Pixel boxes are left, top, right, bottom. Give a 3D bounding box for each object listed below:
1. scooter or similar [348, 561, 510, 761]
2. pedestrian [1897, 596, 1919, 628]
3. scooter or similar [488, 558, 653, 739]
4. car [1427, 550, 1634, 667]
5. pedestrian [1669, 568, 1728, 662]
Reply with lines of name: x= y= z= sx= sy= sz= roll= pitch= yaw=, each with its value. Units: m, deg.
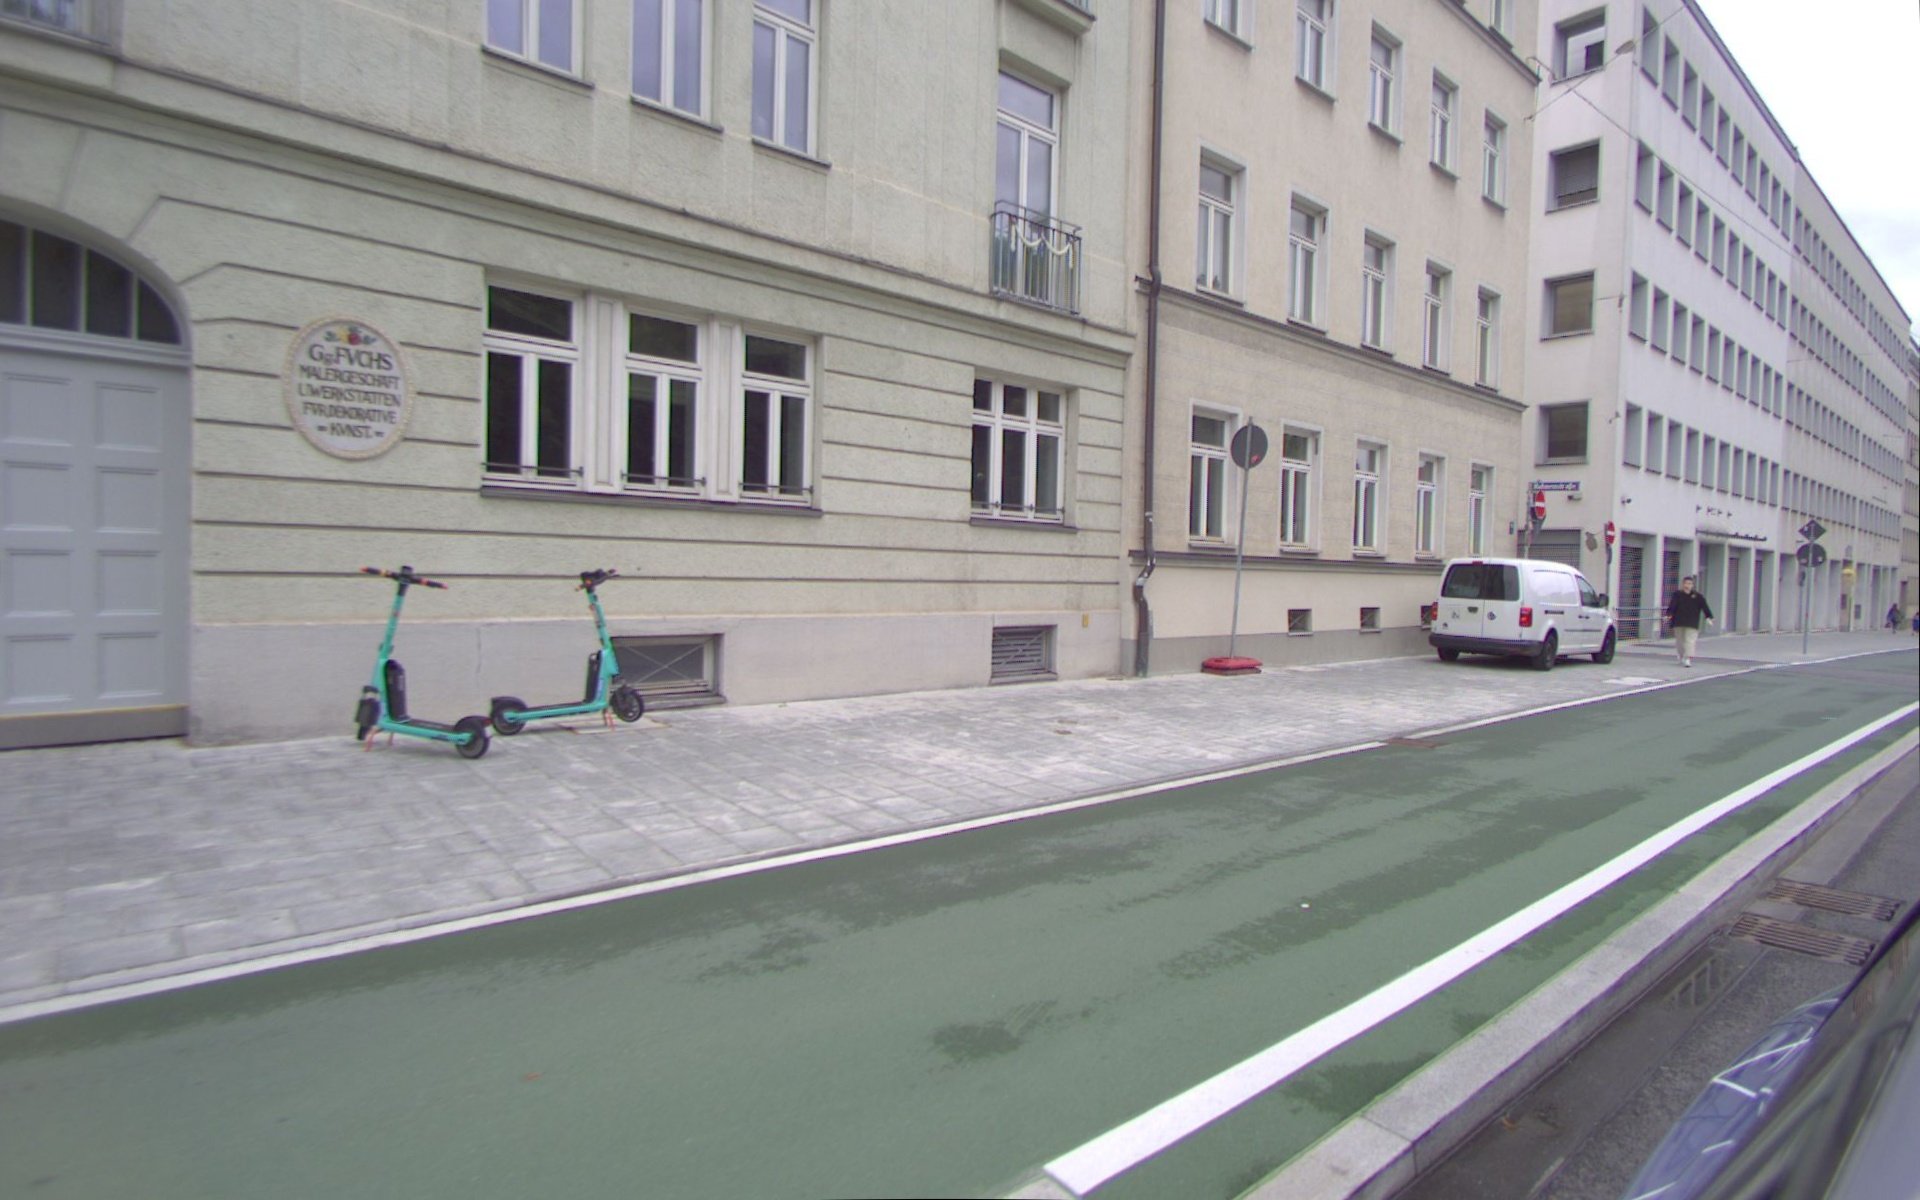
scooter or similar: x=-3.595 y=0.387 z=6.844 sx=1.104 sy=1.246 sz=0.246 roll=3 pitch=3 yaw=17
pedestrian: x=50.905 y=0.622 z=54.256 sx=0.691 sy=1.638 sz=0.754 roll=1 pitch=5 yaw=-40
scooter or similar: x=-2.980 y=0.338 z=7.785 sx=1.100 sy=1.288 sz=0.387 roll=-1 pitch=4 yaw=-42
car: x=10.072 y=0.110 z=17.733 sx=4.357 sy=1.771 sz=1.737 roll=0 pitch=3 yaw=-41
pedestrian: x=13.555 y=0.261 z=18.577 sx=0.724 sy=1.656 sz=0.666 roll=1 pitch=2 yaw=-41
